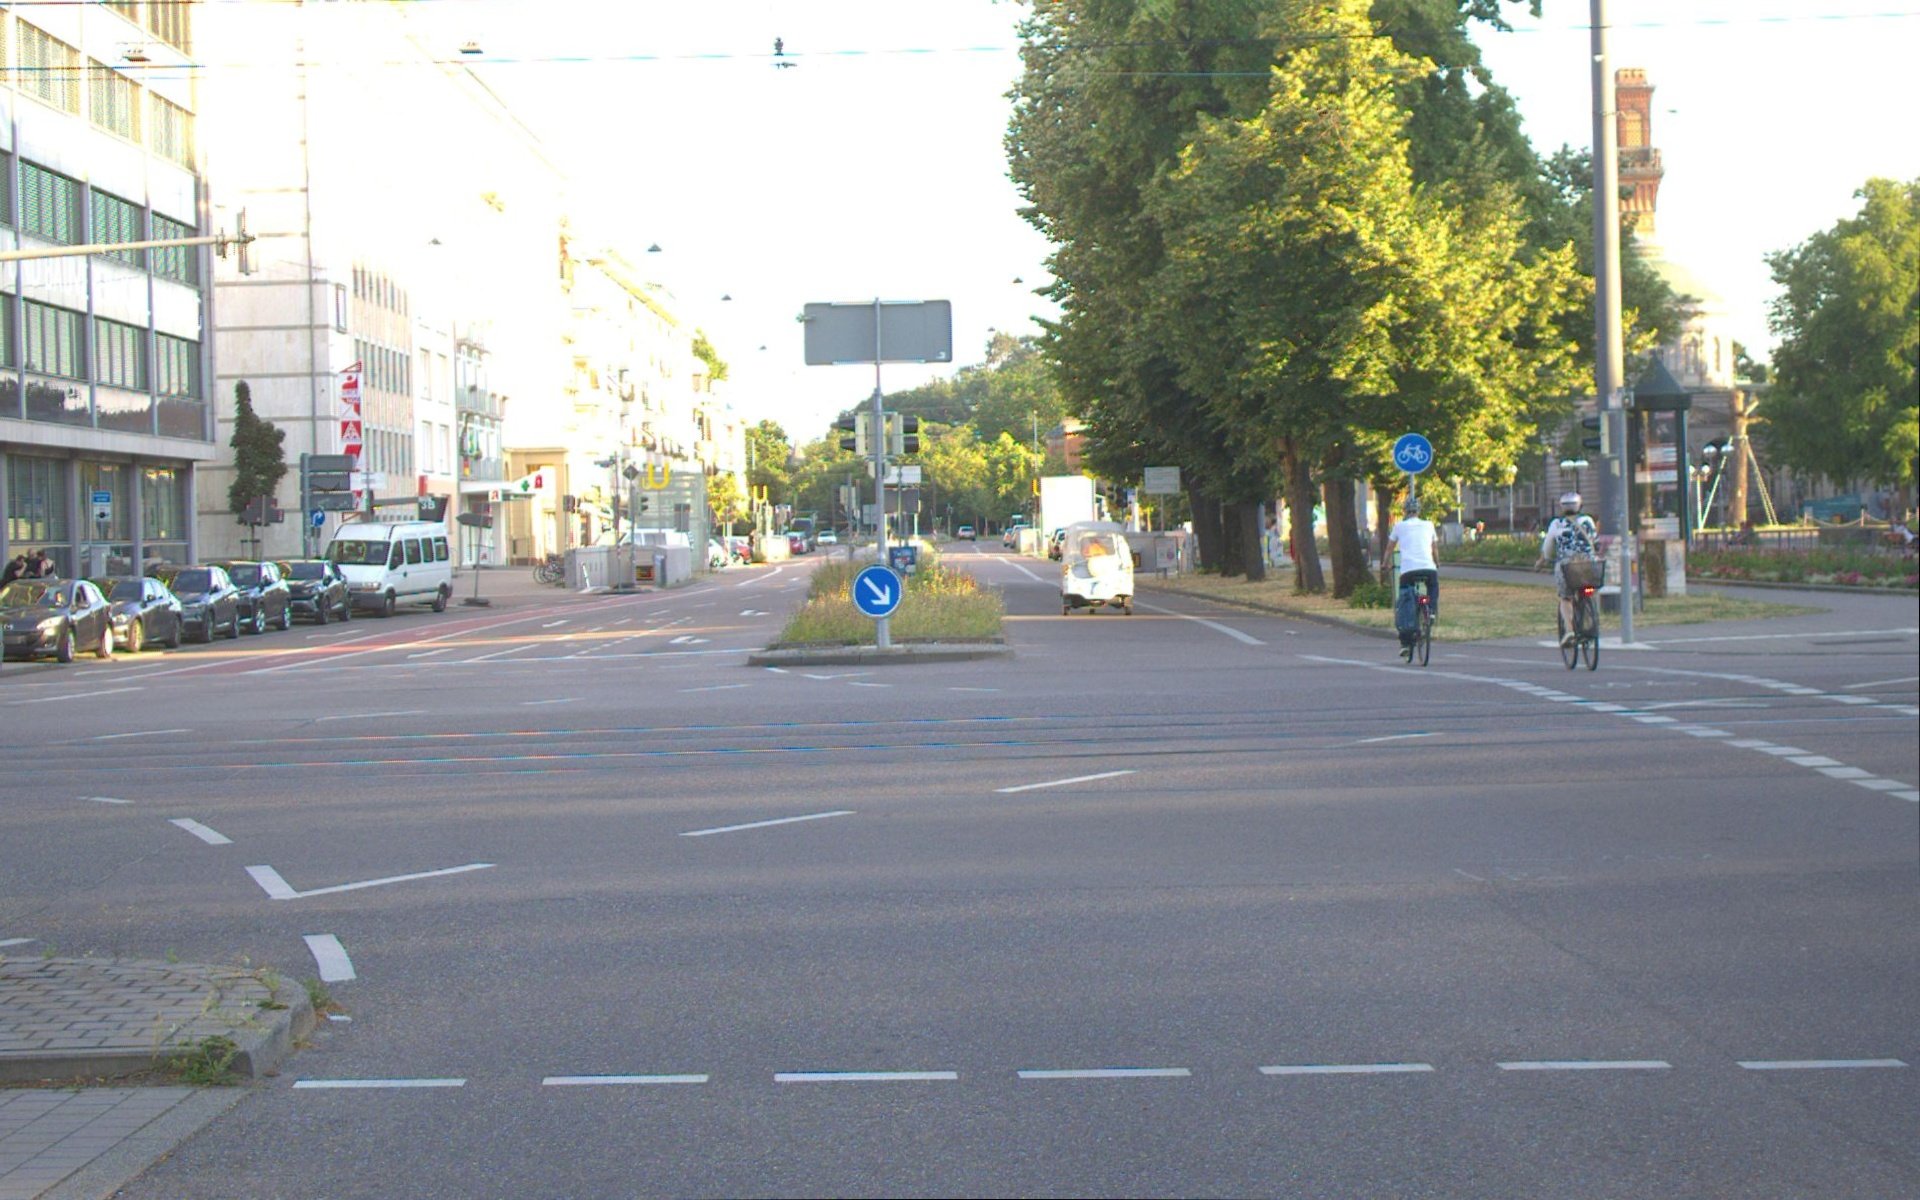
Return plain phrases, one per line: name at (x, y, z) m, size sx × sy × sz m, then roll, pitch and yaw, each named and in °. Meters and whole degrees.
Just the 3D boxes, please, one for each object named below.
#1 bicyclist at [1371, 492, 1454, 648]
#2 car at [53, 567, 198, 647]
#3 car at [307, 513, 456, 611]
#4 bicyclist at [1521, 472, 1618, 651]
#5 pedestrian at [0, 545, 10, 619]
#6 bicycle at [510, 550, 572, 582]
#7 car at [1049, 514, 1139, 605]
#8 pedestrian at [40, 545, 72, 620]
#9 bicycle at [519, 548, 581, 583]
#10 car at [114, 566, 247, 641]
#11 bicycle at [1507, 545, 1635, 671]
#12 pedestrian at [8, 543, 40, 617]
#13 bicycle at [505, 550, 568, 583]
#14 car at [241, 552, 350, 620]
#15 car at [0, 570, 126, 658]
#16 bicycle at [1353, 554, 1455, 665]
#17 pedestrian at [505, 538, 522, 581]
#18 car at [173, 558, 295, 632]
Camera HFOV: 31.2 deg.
bicyclist at (4.930, -0.335, 37.499) m, size 0.746 × 1.658 × 0.873 m, roll -2°, pitch 1°, yaw -1°
car at (-16.572, 0.108, 68.445) m, size 1.920 × 1.459 × 4.000 m, roll -2°, pitch 1°, yaw -1°
car at (-15.296, -1.046, 91.238) m, size 2.002 × 2.469 × 5.865 m, roll -1°, pitch 1°, yaw 10°
bicyclist at (5.871, -0.376, 33.125) m, size 0.746 × 1.685 × 0.799 m, roll -2°, pitch 1°, yaw -1°
pedestrian at (-21.911, -0.405, 77.966) m, size 0.551 × 1.673 × 0.500 m, roll -2°, pitch 1°, yaw -1°
bicycle at (-15.475, -1.253, 126.959) m, size 2.205 × 1.108 × 0.689 m, roll -2°, pitch 1°, yaw -2°
car at (2.518, -0.777, 65.253) m, size 1.408 × 1.636 × 4.000 m, roll -2°, pitch 1°, yaw -2°
pedestrian at (-20.540, -0.403, 78.100) m, size 0.551 × 1.673 × 0.500 m, roll -2°, pitch 1°, yaw -1°
bicycle at (-15.383, -1.301, 128.907) m, size 2.205 × 1.232 × 0.839 m, roll -2°, pitch 1°, yaw -2°
car at (-16.575, 0.060, 73.259) m, size 1.920 × 1.459 × 4.000 m, roll -2°, pitch 1°, yaw -1°
bicycle at (5.884, 0.058, 33.244) m, size 0.746 × 1.140 × 2.505 m, roll -2°, pitch 1°, yaw -1°
pedestrian at (-21.291, -0.459, 78.189) m, size 0.551 × 1.673 × 0.500 m, roll -2°, pitch 1°, yaw -1°
bicycle at (-15.450, -1.224, 125.543) m, size 2.205 × 1.108 × 0.619 m, roll -2°, pitch 1°, yaw -2°
car at (-16.355, -0.377, 84.787) m, size 1.920 × 1.563 × 4.000 m, roll -2°, pitch 1°, yaw -1°
car at (-16.482, 0.239, 61.949) m, size 1.920 × 1.459 × 4.103 m, roll -2°, pitch 1°, yaw -1°
bicycle at (4.880, 0.085, 37.921) m, size 0.746 × 1.140 × 2.505 m, roll -2°, pitch 1°, yaw -1°
pedestrian at (-21.432, -1.947, 164.881) m, size 0.680 × 2.007 × 0.545 m, roll -2°, pitch 1°, yaw 0°
car at (-16.554, -0.143, 78.561) m, size 1.920 × 1.563 × 4.000 m, roll -2°, pitch 1°, yaw -1°
